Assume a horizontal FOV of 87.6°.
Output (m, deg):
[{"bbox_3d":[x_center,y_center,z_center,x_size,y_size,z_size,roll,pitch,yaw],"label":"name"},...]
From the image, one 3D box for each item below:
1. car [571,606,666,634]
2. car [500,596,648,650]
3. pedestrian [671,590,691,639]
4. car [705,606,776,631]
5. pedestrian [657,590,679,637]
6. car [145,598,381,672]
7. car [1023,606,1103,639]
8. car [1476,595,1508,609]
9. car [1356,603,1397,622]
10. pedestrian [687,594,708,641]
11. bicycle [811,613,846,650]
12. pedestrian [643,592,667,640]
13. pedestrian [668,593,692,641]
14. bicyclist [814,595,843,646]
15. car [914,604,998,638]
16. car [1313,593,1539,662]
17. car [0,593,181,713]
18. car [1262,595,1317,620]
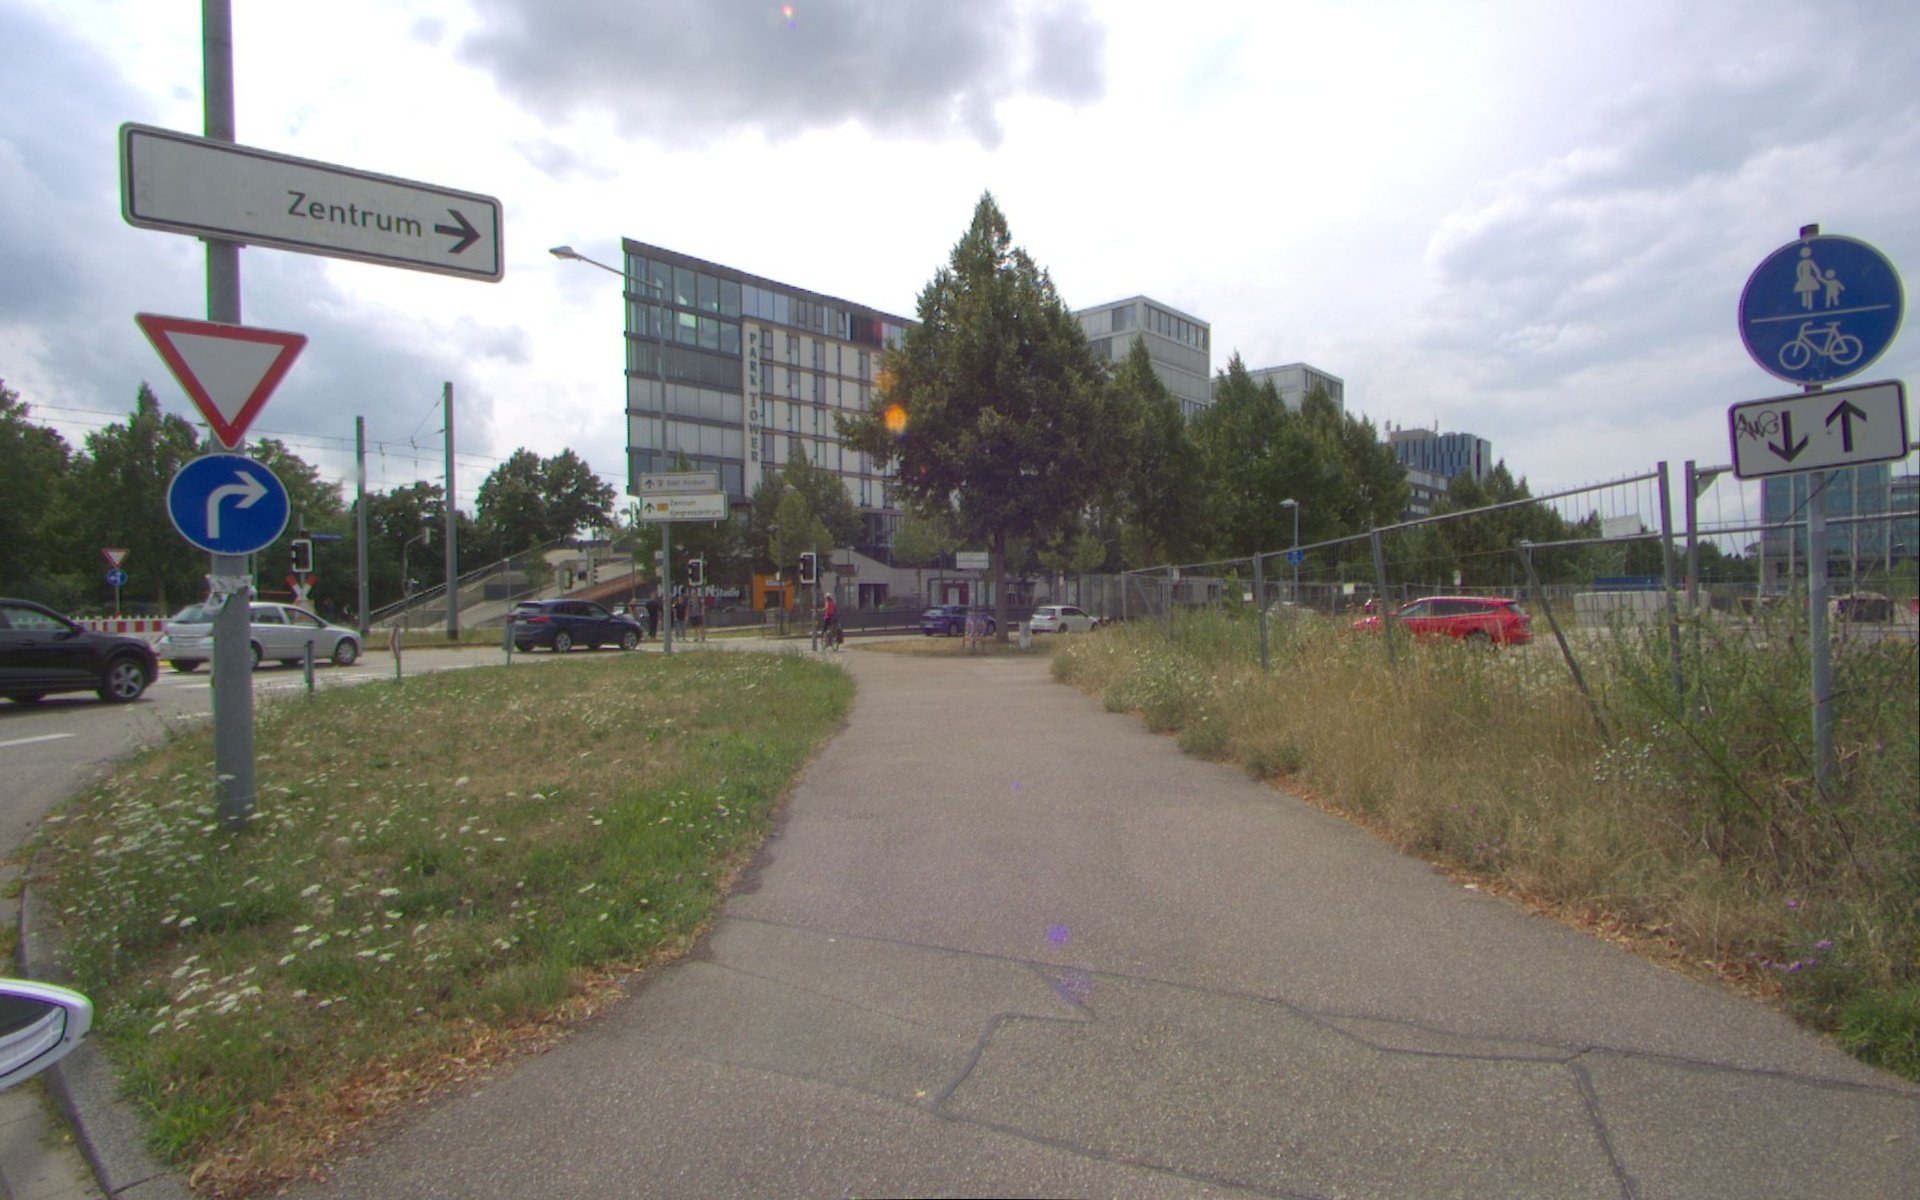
[{"bbox_3d":[-18.873,1.080,55.447,1.829,1.477,4.696,1,0,43],"label":"car"},{"bbox_3d":[-11.801,0.670,30.912,1.704,1.554,4.358,0,0,24],"label":"car"},{"bbox_3d":[-10.881,0.554,39.013,0.546,1.887,0.527,1,1,37],"label":"pedestrian"},{"bbox_3d":[-13.589,1.124,62.062,1.829,1.477,3.963,1,0,44],"label":"car"},{"bbox_3d":[-11.223,0.526,38.509,0.546,1.805,0.629,1,1,37],"label":"pedestrian"},{"bbox_3d":[-15.347,0.709,22.366,1.796,1.482,4.257,0,0,12],"label":"car"},{"bbox_3d":[5.056,1.038,48.639,1.781,1.517,4.225,0,0,41],"label":"car"},{"bbox_3d":[55.269,0.193,104.002,1.978,1.392,3.966,0,0,42],"label":"car"},{"bbox_3d":[37.133,1.110,89.228,1.977,1.639,4.713,0,0,41],"label":"car"},{"bbox_3d":[-10.172,0.664,38.848,0.546,1.805,0.576,1,1,37],"label":"pedestrian"},{"bbox_3d":[-4.392,1.023,33.241,0.778,1.183,2.037,-1,0,-19],"label":"bicycle"},{"bbox_3d":[-11.581,0.595,38.018,0.546,1.805,0.685,1,1,37],"label":"pedestrian"},{"bbox_3d":[-10.685,0.655,38.223,0.546,1.805,0.685,1,1,37],"label":"pedestrian"},{"bbox_3d":[-4.350,0.670,33.125,0.778,1.649,1.046,-1,1,-18],"label":"bicyclist"},{"bbox_3d":[-0.146,0.937,47.160,1.780,1.517,4.084,0,0,40],"label":"car"},{"bbox_3d":[11.946,0.668,25.875,5.072,1.625,1.777,0,0,37],"label":"car"},{"bbox_3d":[-13.025,0.675,13.433,1.707,1.539,4.146,0,0,4],"label":"car"},{"bbox_3d":[22.859,0.518,69.370,1.977,1.639,4.714,0,0,41],"label":"car"}]
